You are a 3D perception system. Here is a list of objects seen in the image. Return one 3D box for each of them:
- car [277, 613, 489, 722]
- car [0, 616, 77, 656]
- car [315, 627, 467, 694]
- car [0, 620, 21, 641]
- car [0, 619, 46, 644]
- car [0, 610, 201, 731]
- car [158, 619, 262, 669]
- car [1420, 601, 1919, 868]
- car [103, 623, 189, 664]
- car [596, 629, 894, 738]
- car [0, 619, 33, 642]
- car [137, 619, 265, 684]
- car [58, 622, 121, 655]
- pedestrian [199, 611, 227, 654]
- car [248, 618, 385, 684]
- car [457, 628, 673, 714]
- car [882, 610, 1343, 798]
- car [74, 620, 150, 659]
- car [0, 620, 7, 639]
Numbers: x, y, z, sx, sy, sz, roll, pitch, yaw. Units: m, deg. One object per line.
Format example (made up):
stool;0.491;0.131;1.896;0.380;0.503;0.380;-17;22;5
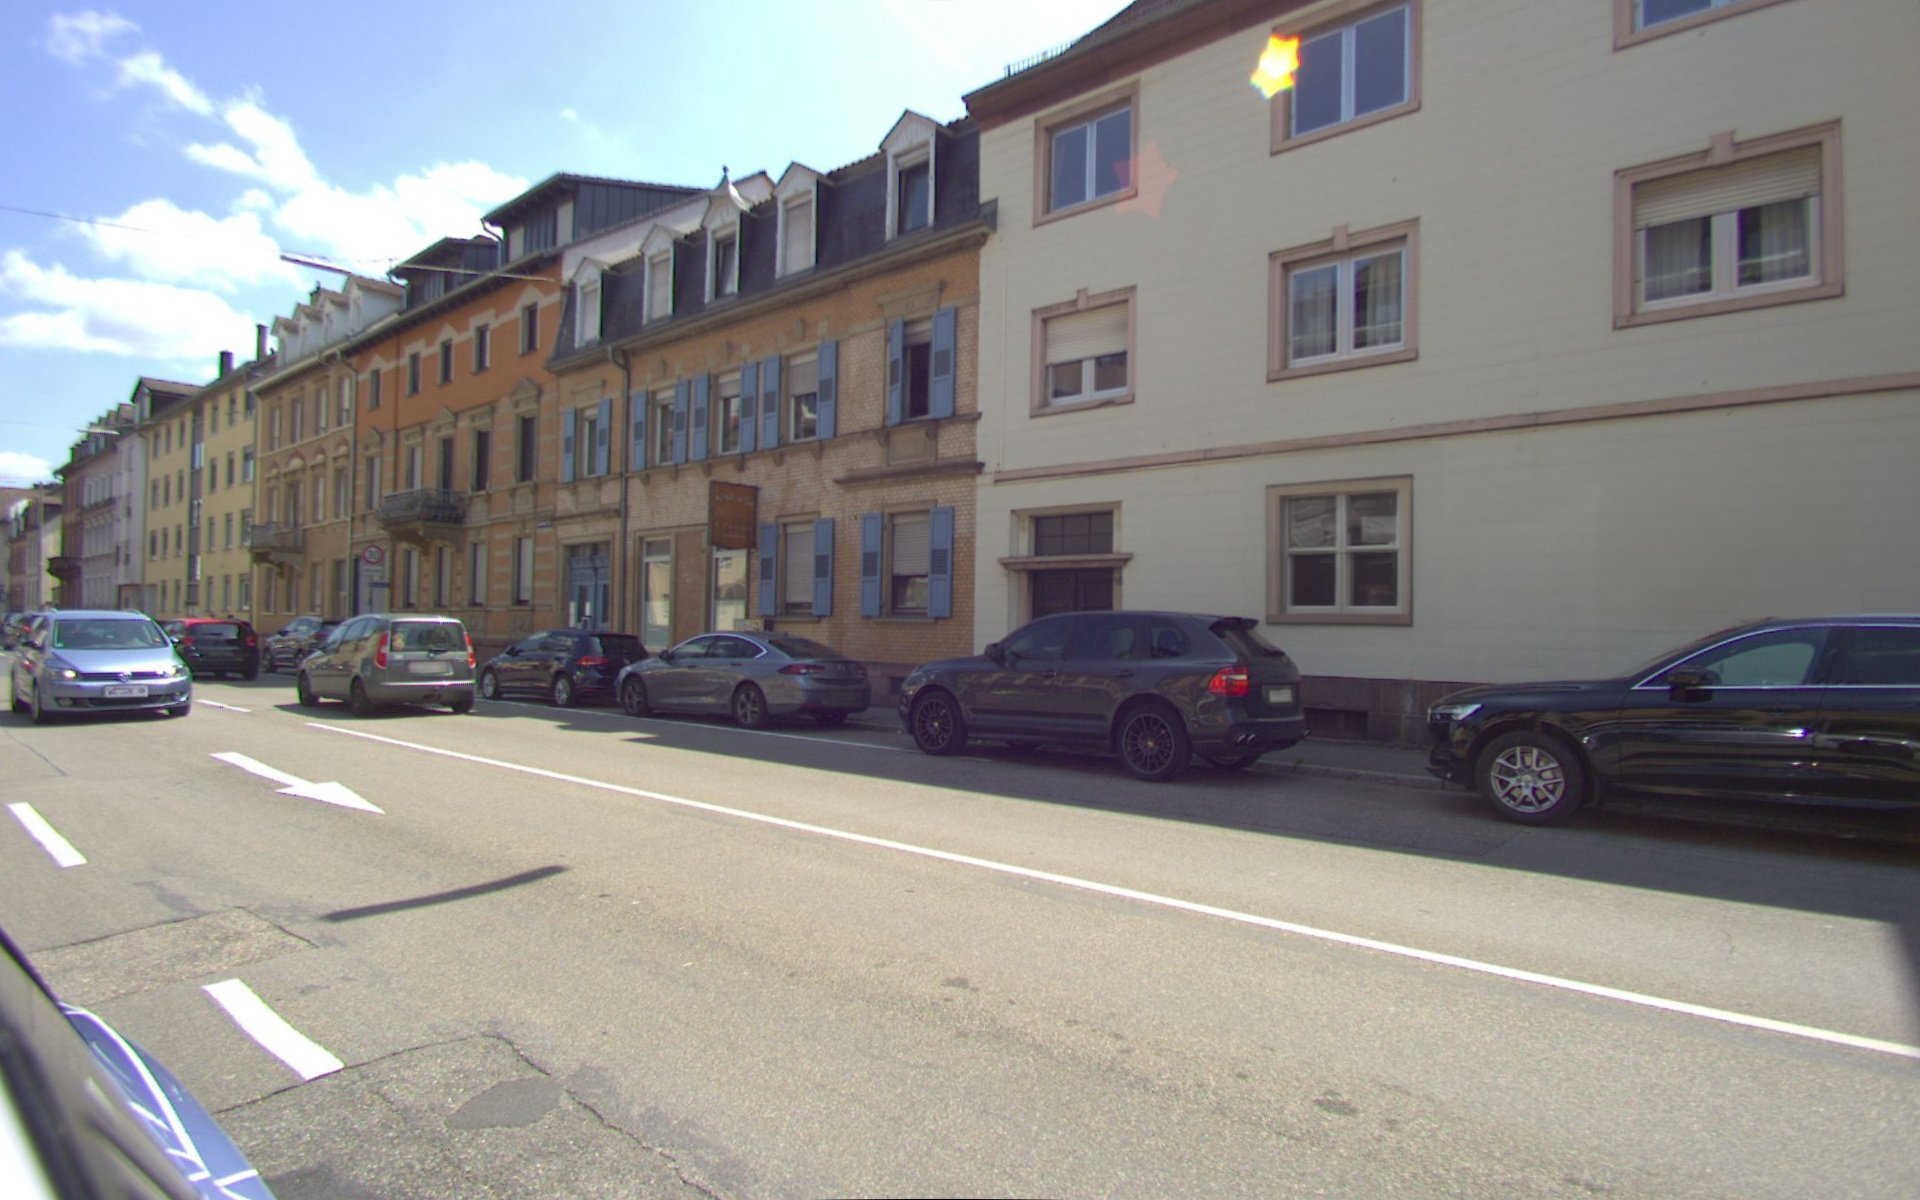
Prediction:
car;-9.654;1.051;16.791;4.310;1.587;1.684;-1;-3;41
car;-37.290;1.450;40.878;4.242;1.506;1.742;-1;-3;40
car;-14.254;1.494;25.271;4.328;1.437;1.846;-1;-6;40
car;-69.422;2.156;72.992;4.098;1.421;1.728;0;-6;38
car;-61.029;2.017;65.709;4.098;1.421;1.728;0;-6;38
car;-13.028;0.971;15.252;3.998;1.580;1.736;-1;-2;41
car;-26.893;1.554;36.248;4.496;1.563;1.846;-1;-6;40
car;6.096;0.894;7.426;4.658;1.653;1.866;-1;-4;39
car;-33.832;1.787;42.031;4.683;1.463;1.885;-1;-6;41
car;-3.487;1.260;15.922;4.831;1.417;1.847;0;-6;38
car;-65.256;2.084;69.405;4.098;1.421;1.728;0;-6;38
car;-18.944;1.252;25.207;4.131;1.489;1.684;-1;-3;41
car;-42.482;1.870;49.377;3.913;1.421;1.726;-1;-6;42
pedestrian;-30.991;1.353;41.985;0.793;1.769;0.877;3;-3;-41
car;-18.148;1.413;28.472;4.496;1.640;1.846;-1;-6;40
car;-7.703;1.353;19.597;4.324;1.417;1.847;0;-6;38
car;1.500;0.991;11.226;4.815;1.653;1.865;-1;-4;41
car;-38.765;1.786;46.228;4.311;1.563;1.846;-1;-6;41
car;-73.820;2.147;76.636;4.098;1.421;1.728;0;-6;38
